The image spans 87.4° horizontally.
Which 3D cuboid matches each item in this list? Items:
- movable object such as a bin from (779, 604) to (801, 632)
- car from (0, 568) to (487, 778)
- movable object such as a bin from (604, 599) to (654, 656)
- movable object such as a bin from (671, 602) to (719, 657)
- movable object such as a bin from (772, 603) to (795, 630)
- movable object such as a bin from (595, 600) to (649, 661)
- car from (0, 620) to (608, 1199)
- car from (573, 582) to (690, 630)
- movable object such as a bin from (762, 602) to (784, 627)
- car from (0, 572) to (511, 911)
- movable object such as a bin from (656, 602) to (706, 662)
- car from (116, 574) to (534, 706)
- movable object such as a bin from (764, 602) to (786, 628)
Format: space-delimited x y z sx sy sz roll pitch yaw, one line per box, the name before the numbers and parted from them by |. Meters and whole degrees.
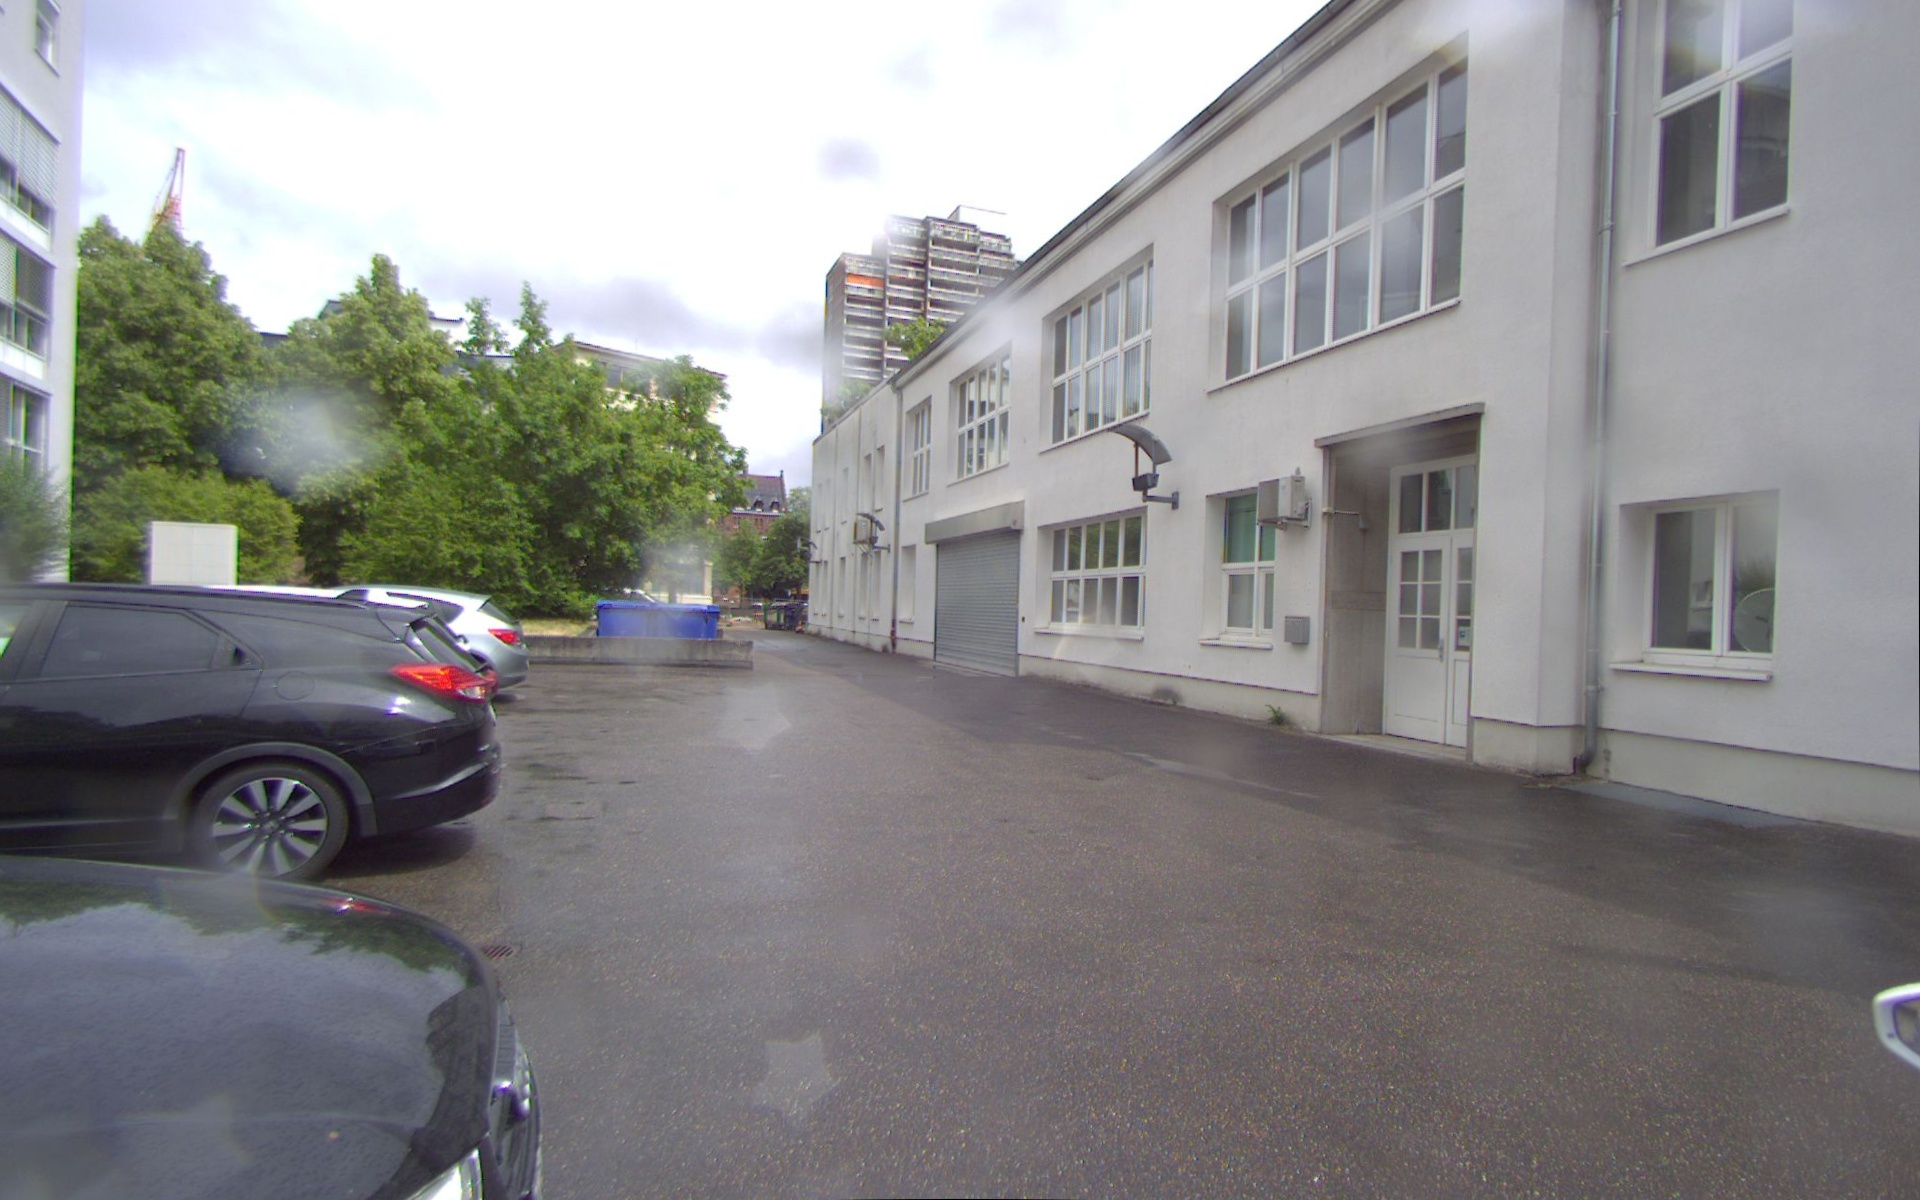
movable object such as a bin | -8.605 0.890 50.796 0.962 1.374 0.916 1 1 -16
car | -6.187 0.558 8.229 4.069 1.462 1.686 3 0 -24
movable object such as a bin | -8.248 0.681 25.098 1.113 1.346 1.204 1 1 -16
movable object such as a bin | -6.783 0.738 25.698 1.113 1.346 1.204 1 1 -16
movable object such as a bin | -9.220 0.863 52.379 1.029 1.374 1.204 1 1 -15
movable object such as a bin | -7.874 0.702 23.466 1.113 1.346 1.204 1 1 -16
car | -2.786 0.688 0.939 4.468 1.370 1.752 3 0 -25
car | -12.907 0.243 39.712 4.261 1.750 1.717 2 1 -14
movable object such as a bin | -10.517 0.800 56.489 1.049 1.374 1.260 1 1 -15
car | -4.672 0.609 5.135 4.259 1.462 1.752 3 0 -26
movable object such as a bin | -6.624 0.743 23.883 1.077 1.343 1.204 1 1 -16
car | -7.879 0.524 12.982 4.259 1.462 1.752 3 0 -26
movable object such as a bin | -10.163 0.818 55.233 1.049 1.374 1.260 1 1 -15
